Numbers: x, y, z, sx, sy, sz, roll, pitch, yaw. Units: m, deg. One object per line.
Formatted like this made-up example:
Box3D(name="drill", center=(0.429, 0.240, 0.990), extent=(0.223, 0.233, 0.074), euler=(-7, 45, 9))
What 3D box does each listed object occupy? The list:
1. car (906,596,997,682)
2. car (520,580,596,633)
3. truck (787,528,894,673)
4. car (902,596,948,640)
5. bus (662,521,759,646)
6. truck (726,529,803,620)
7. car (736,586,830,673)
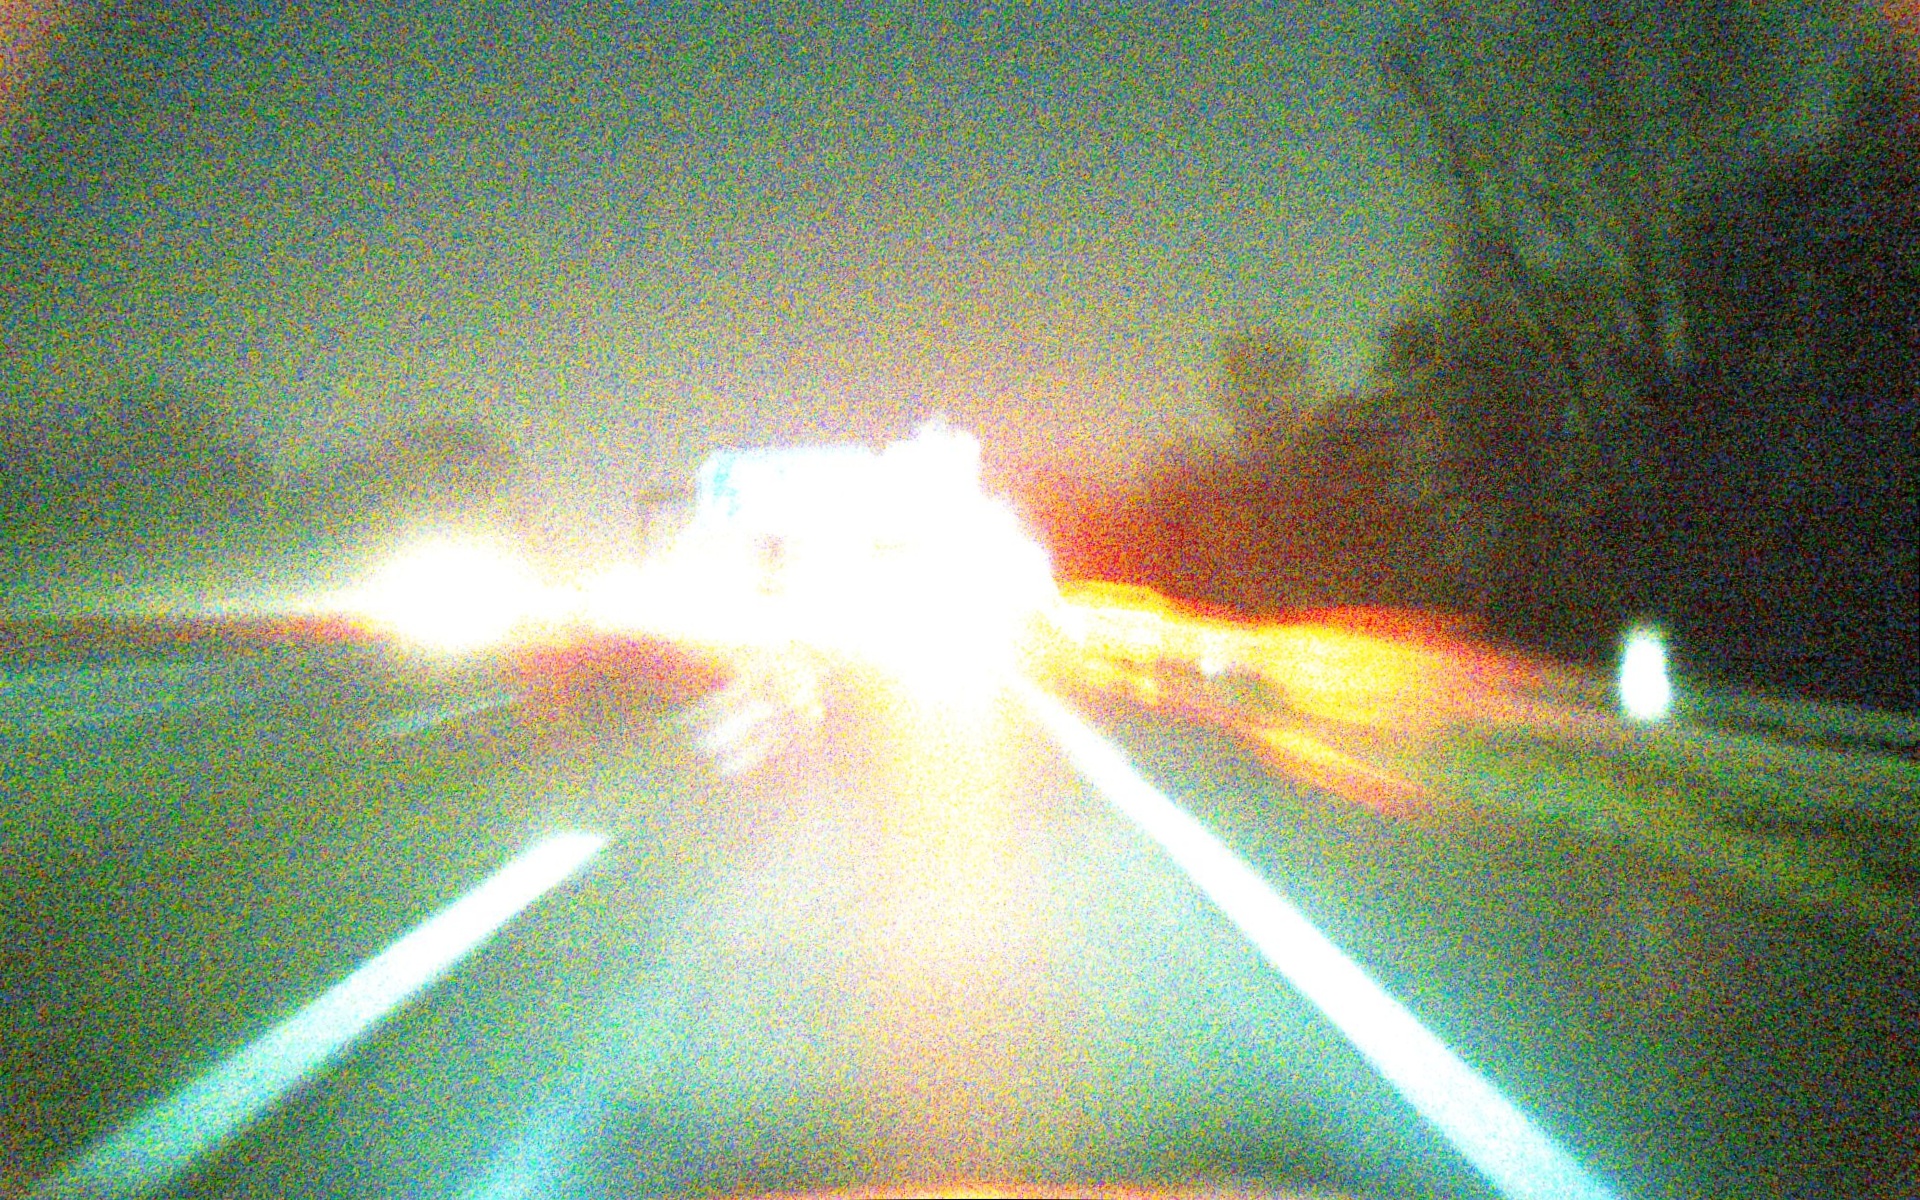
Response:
Box3D(name="car", center=(-0.223, 0.864, 38.227), extent=(1.953, 1.839, 3.999), euler=(1, 0, -1))
Box3D(name="car", center=(-13.039, 0.213, 53.870), extent=(1.956, 1.624, 3.993), euler=(1, 0, -8))
Box3D(name="truck", center=(-5.025, 0.050, 72.383), extent=(4.125, 5.747, 11.463), euler=(1, 0, -2))
Box3D(name="car", center=(-1.748, 0.858, 81.435), extent=(2.084, 2.049, 4.642), euler=(1, 0, -4))
Box3D(name="bus", center=(-9.976, -0.592, 67.188), extent=(3.036, 4.587, 10.902), euler=(1, 0, -5))
Box3D(name="truck", center=(-12.996, -1.604, 111.136), extent=(4.125, 5.747, 11.463), euler=(1, 0, -2))
Box3D(name="car", center=(-4.392, 0.716, 41.668), extent=(2.084, 2.049, 4.642), euler=(1, 0, -4))
